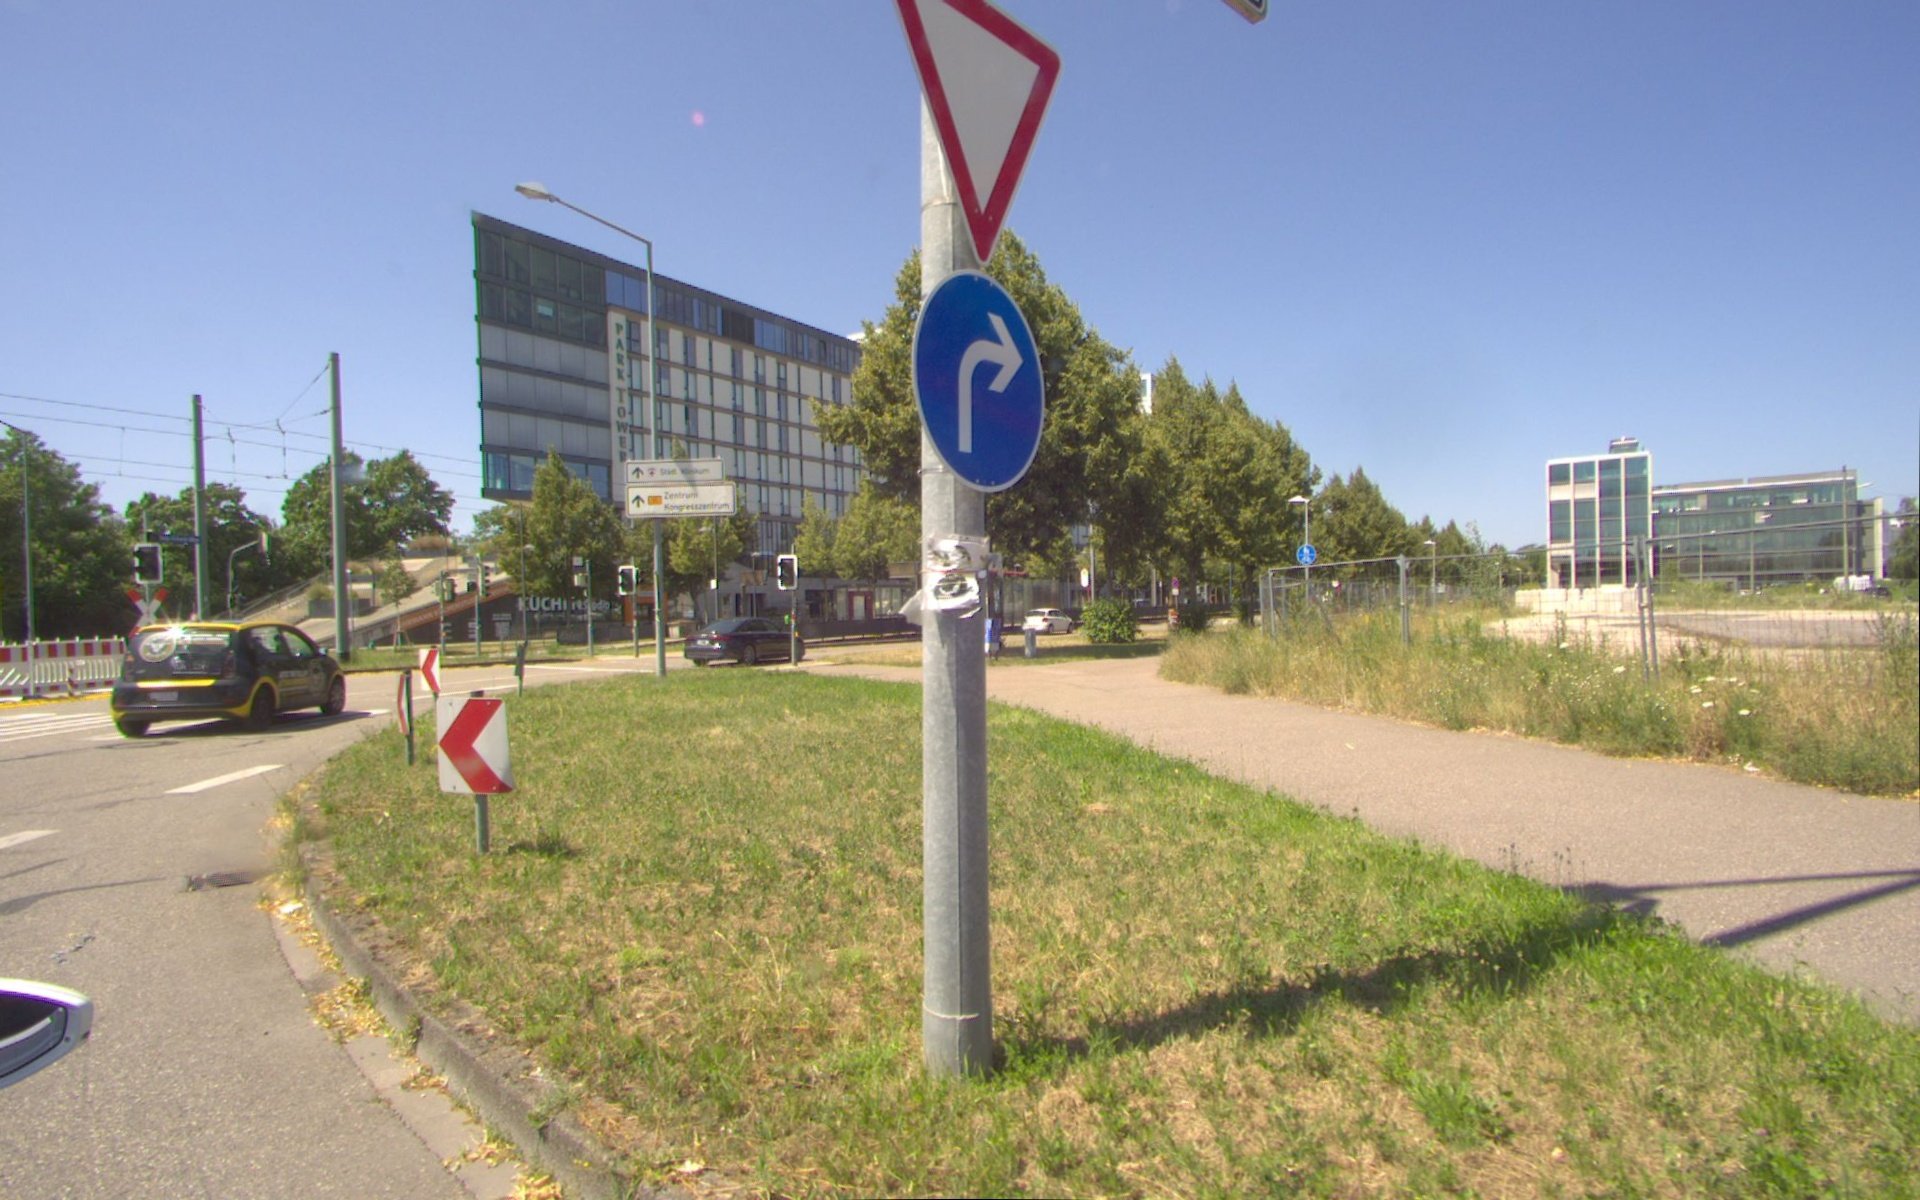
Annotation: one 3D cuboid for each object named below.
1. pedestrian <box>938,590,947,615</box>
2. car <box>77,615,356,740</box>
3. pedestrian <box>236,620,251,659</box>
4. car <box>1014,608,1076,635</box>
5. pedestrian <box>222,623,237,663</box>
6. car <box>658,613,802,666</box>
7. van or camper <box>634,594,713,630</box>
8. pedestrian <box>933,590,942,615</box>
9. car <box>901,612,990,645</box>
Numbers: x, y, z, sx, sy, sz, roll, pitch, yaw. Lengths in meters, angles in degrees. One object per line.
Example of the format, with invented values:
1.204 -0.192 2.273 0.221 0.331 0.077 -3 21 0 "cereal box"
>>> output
-1.277 0.187 72.112 0.404 1.775 0.583 -1 0 29 "pedestrian"
-10.089 0.980 13.983 1.594 1.470 3.984 0 -2 -12 "car"
-32.734 1.792 45.753 0.313 1.761 0.447 -1 0 31 "pedestrian"
4.857 1.240 56.716 1.829 1.467 4.333 -1 -2 29 "car"
-33.011 1.940 45.265 0.287 1.761 0.447 -1 0 31 "pedestrian"
-6.837 1.162 30.370 1.966 1.467 4.639 -1 -2 22 "car"
-24.240 1.025 85.082 2.347 2.859 6.756 -1 -1 30 "van or camper"
-1.604 0.180 71.534 0.404 1.775 0.583 -1 0 29 "pedestrian"
-0.624 1.325 47.175 1.971 1.467 4.736 -1 -2 31 "car"
